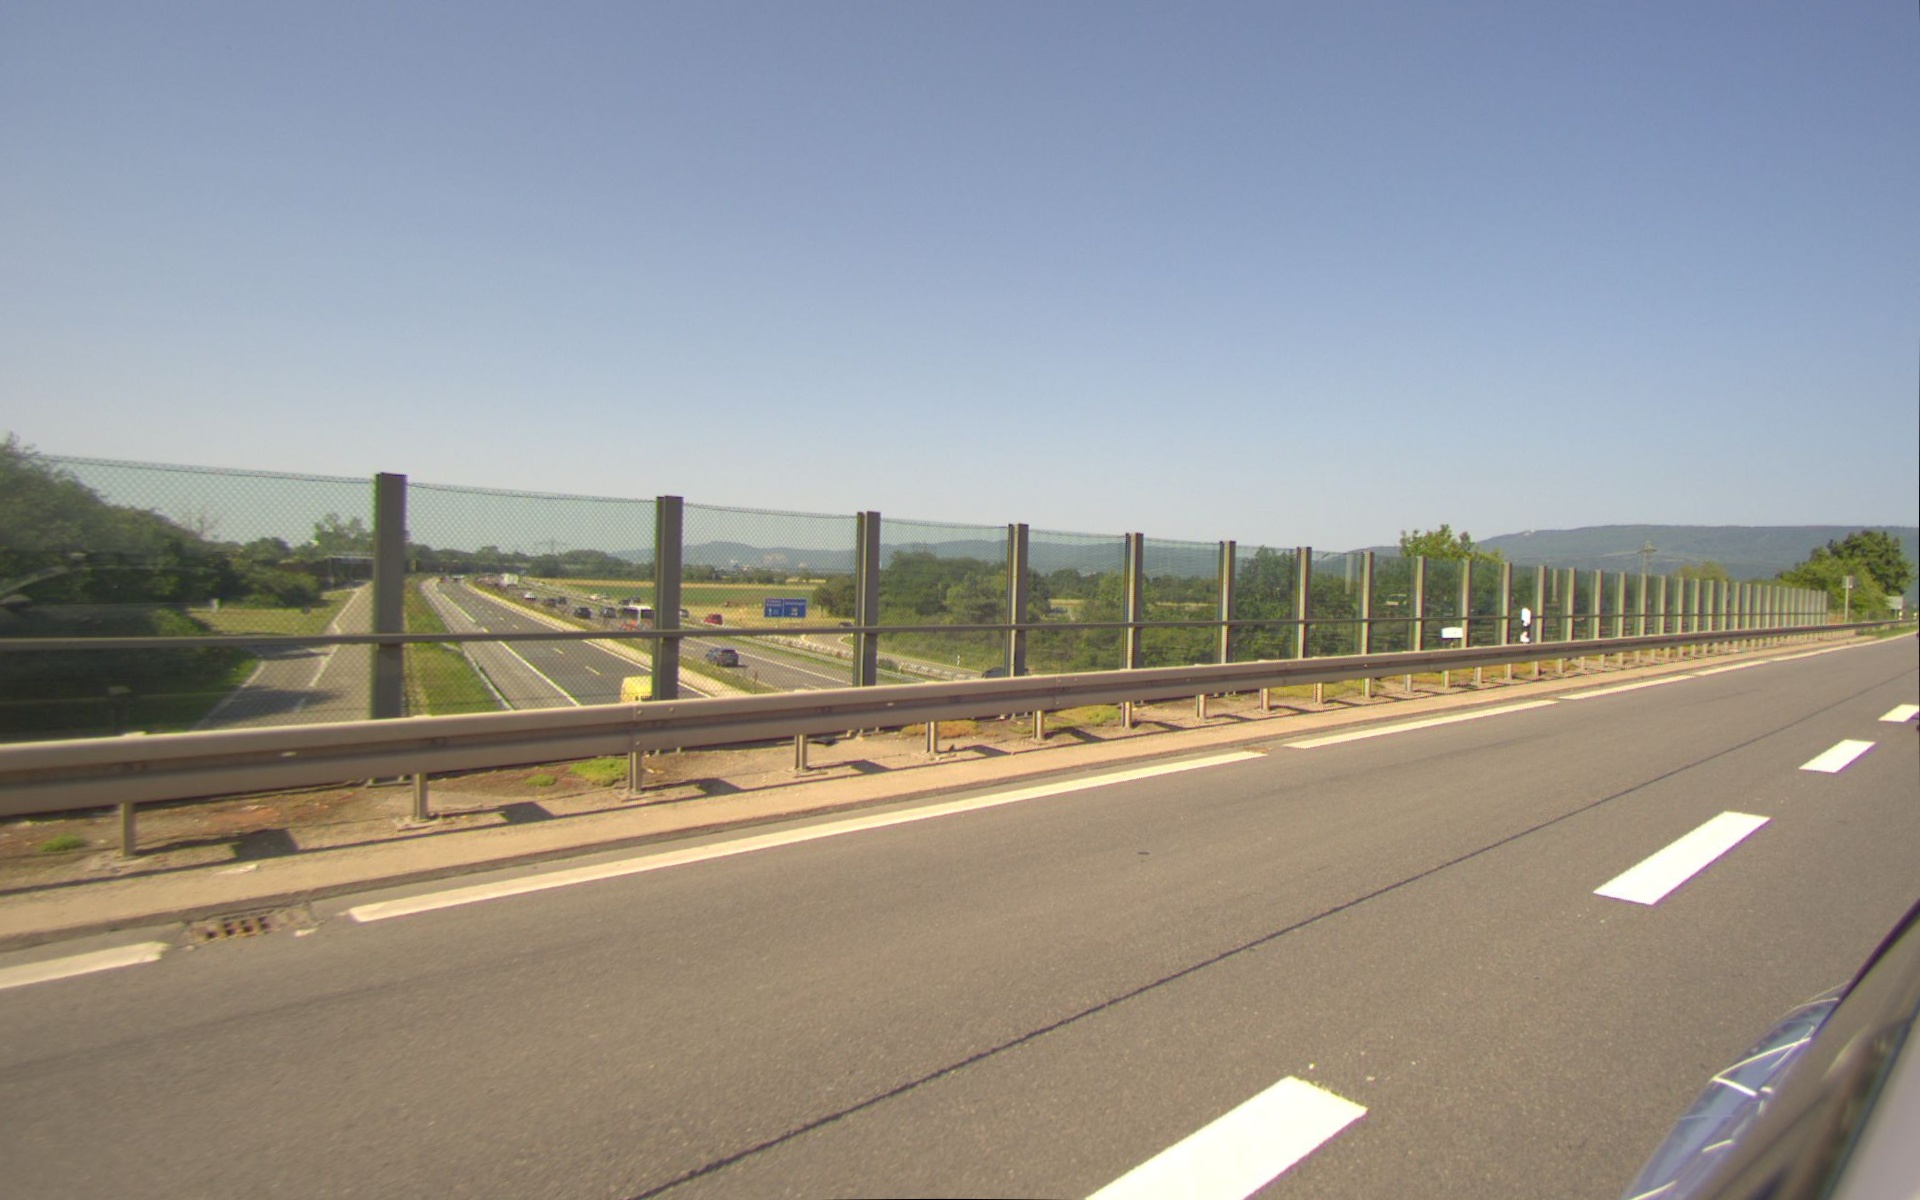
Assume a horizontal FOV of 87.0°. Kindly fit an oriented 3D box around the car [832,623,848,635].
[{"bbox_3d":[-18.012,4.311,151.951,1.817,1.705,3.997,0,0,2],"label":"car"}]

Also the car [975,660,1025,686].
[{"bbox_3d":[3.116,5.692,79.440,1.960,1.727,4.266,1,0,-31],"label":"car"}]

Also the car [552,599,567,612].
[{"bbox_3d":[-75.678,1.032,191.175,1.842,2.388,4.722,1,0,-30],"label":"car"}]

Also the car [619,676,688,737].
[{"bbox_3d":[-14.892,5.059,48.959,2.093,2.374,4.993,1,0,-30],"label":"car"}]

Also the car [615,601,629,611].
[{"bbox_3d":[-69.729,1.267,208.531,1.960,2.039,4.004,0,0,-30],"label":"car"}]

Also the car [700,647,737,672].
[{"bbox_3d":[-19.719,4.857,82.492,1.842,1.787,4.004,1,0,-30],"label":"car"}]

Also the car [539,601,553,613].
[{"bbox_3d":[-71.598,1.281,174.990,1.841,2.037,4.005,1,0,-29],"label":"car"}]

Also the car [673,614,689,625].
[{"bbox_3d":[-45.898,3.174,166.209,1.744,1.794,4.005,1,0,-28],"label":"car"}]

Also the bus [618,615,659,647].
[{"bbox_3d":[-35.706,3.357,112.260,2.499,3.203,8.397,1,0,-31],"label":"bus"}]

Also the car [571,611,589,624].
[{"bbox_3d":[-53.740,2.427,143.113,1.841,1.787,4.005,1,0,-28],"label":"car"}]
